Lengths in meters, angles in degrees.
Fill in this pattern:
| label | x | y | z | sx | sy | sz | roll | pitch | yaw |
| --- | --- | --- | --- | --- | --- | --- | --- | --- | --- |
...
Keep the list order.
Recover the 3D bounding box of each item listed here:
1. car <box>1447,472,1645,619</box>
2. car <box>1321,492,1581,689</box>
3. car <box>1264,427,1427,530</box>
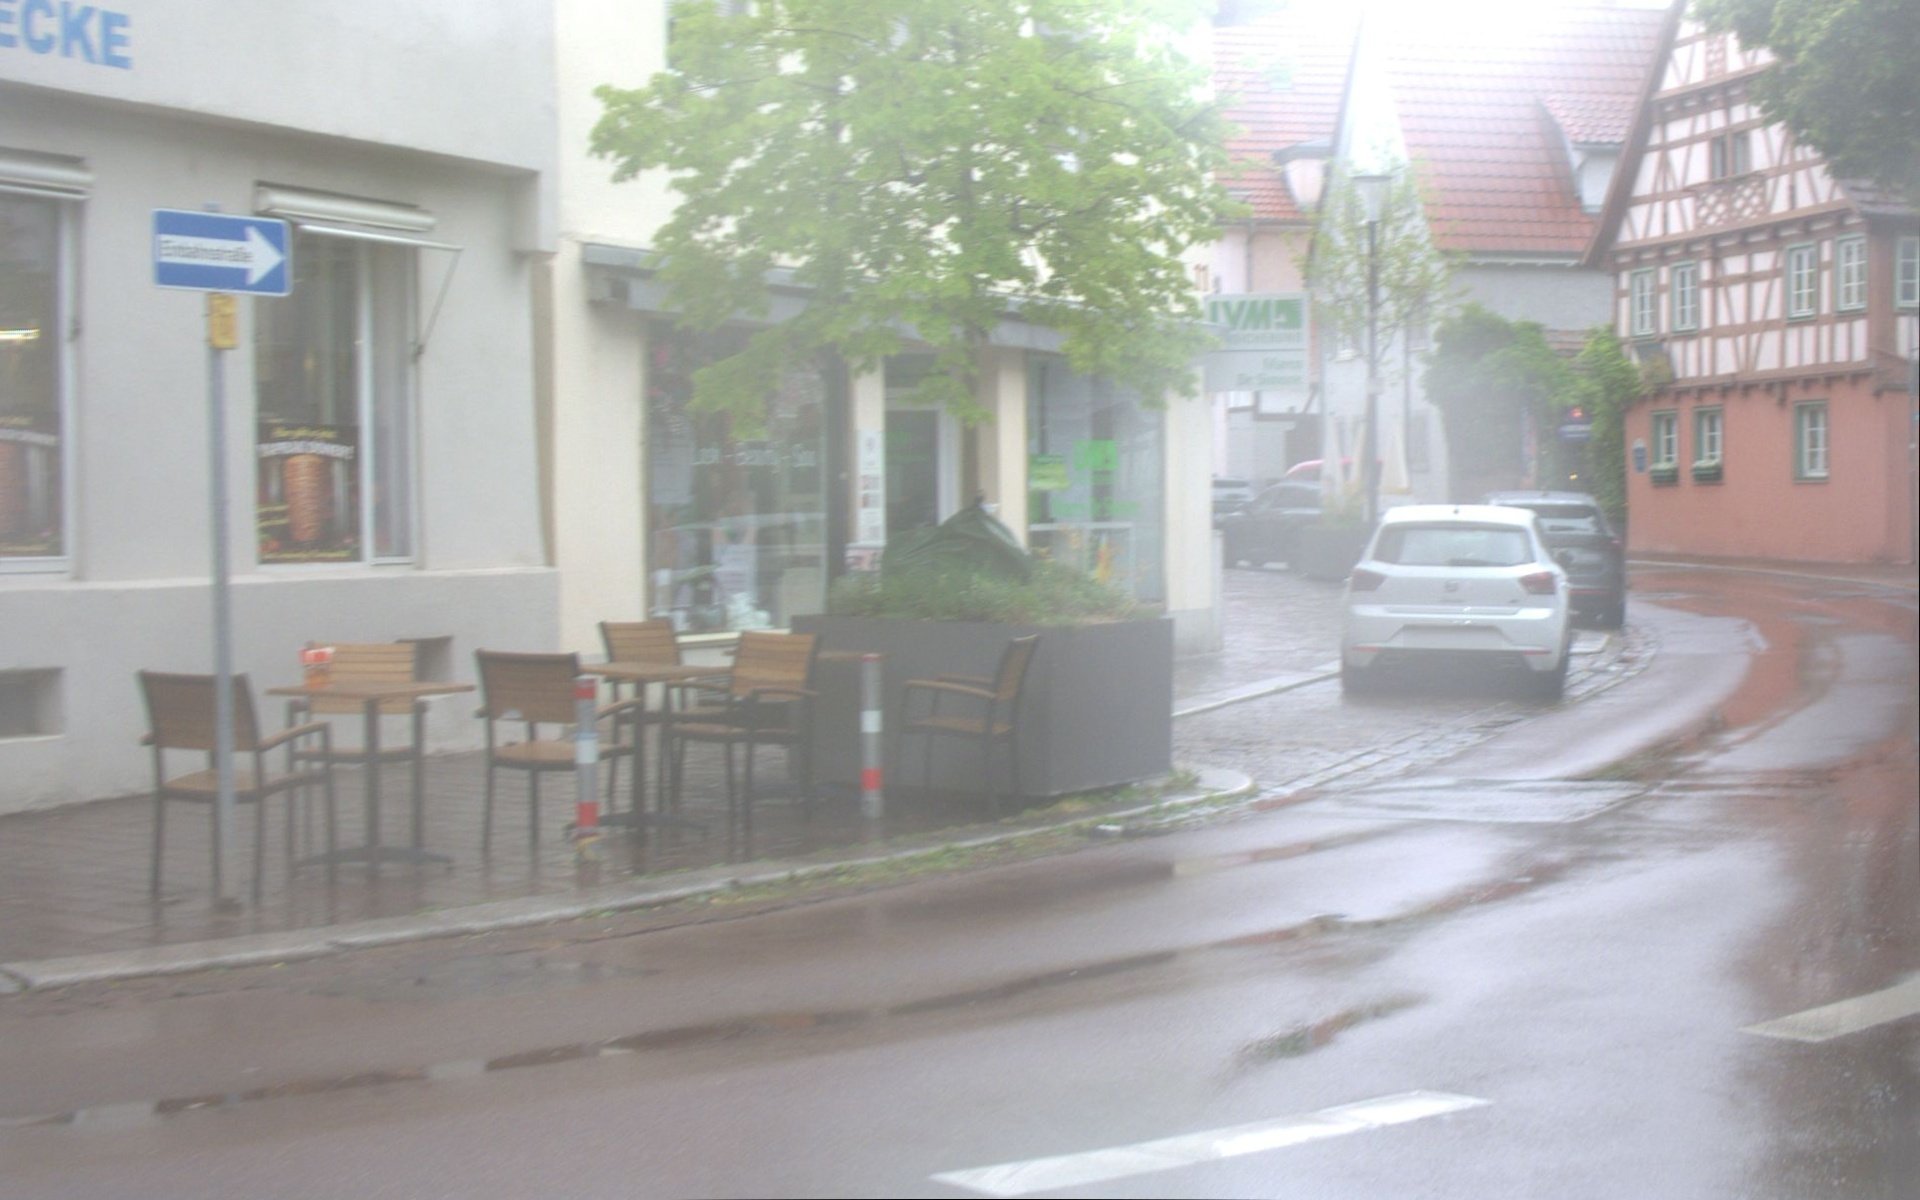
| label | x | y | z | sx | sy | sz | roll | pitch | yaw |
| --- | --- | --- | --- | --- | --- | --- | --- | --- | --- |
| car | 6.502 | -0.590 | 38.516 | 1.876 | 1.535 | 4.399 | 0 | 0 | 6 |
| car | 4.001 | -0.128 | 27.535 | 1.850 | 1.447 | 4.071 | 0 | 2 | 11 |
| car | 7.172 | -2.295 | 64.362 | 1.893 | 1.805 | 4.002 | 1 | 2 | -11 |
